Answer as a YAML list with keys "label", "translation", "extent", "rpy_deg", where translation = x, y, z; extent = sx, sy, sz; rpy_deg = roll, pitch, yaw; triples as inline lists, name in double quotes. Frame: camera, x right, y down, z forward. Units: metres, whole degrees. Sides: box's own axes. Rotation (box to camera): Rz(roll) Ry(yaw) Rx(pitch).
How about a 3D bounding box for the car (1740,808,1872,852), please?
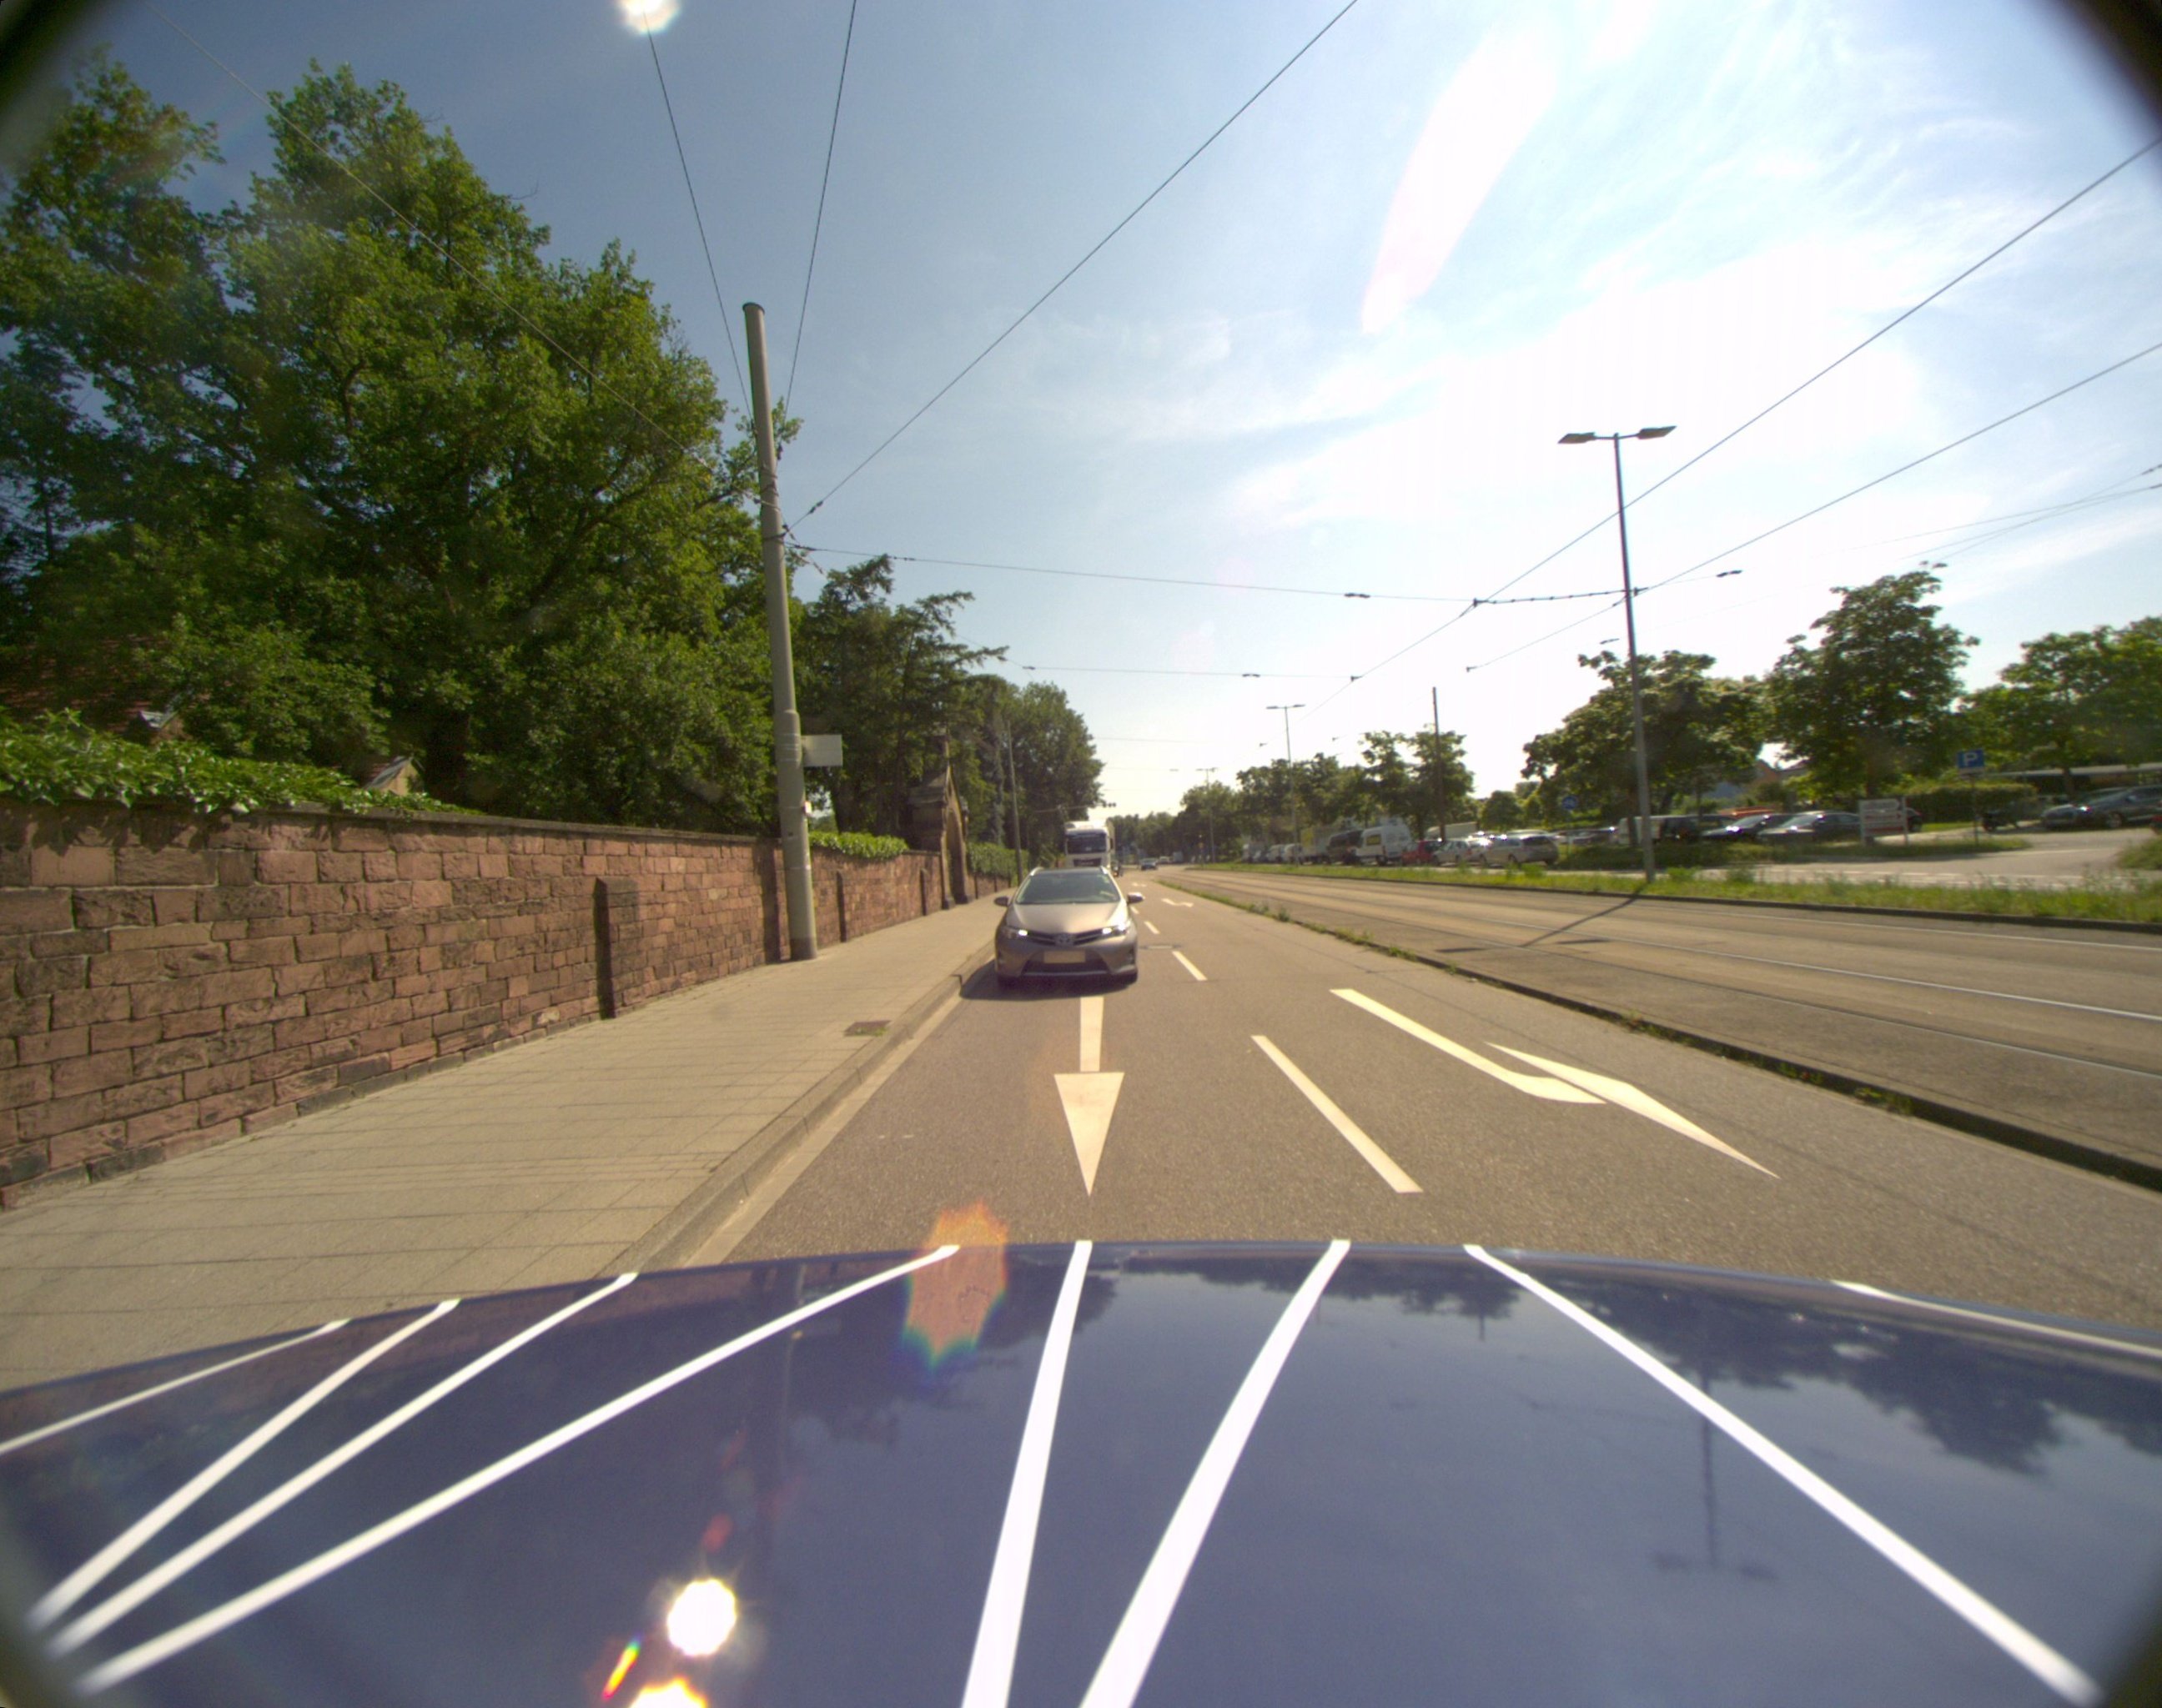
- label: "car"
  translation: [30.659, -0.987, 32.206]
  extent: [3.997, 1.554, 1.663]
  rpy_deg: [-4, 0, -1]

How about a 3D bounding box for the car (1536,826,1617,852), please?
- label: "car"
  translation: [31.262, -0.941, 47.998]
  extent: [3.997, 1.363, 1.660]
  rpy_deg: [-3, 0, -2]

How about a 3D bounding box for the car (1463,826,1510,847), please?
- label: "car"
  translation: [43.991, -1.894, 82.488]
  extent: [3.998, 1.879, 1.785]
  rpy_deg: [-4, 0, -3]

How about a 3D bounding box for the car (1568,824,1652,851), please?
- label: "car"
  translation: [31.609, -0.990, 45.438]
  extent: [3.998, 1.363, 1.489]
  rpy_deg: [-3, 0, -3]

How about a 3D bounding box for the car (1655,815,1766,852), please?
- label: "car"
  translation: [30.868, -0.995, 37.322]
  extent: [3.997, 1.554, 1.663]
  rpy_deg: [-3, 0, -1]

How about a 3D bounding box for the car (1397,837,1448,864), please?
- label: "car"
  translation: [20.425, -0.185, 45.565]
  extent: [1.295, 1.481, 3.677]
  rpy_deg: [-4, 0, -1]

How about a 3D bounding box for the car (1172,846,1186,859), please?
- label: "car"
  translation: [22.261, -0.285, 172.581]
  extent: [2.016, 2.635, 6.086]
  rpy_deg: [-7, 0, 1]

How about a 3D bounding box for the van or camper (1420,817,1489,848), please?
- label: "van or camper"
  translation: [45.262, -2.611, 92.298]
  extent: [6.968, 3.225, 2.582]
  rpy_deg: [-4, 0, -1]

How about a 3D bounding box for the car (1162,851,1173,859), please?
- label: "car"
  translation: [17.663, 0.220, 155.677]
  extent: [2.048, 1.587, 4.661]
  rpy_deg: [-2, 0, 4]

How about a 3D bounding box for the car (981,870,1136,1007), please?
- label: "car"
  translation: [-0.178, 1.014, 10.672]
  extent: [1.719, 1.439, 4.031]
  rpy_deg: [-2, 0, 2]

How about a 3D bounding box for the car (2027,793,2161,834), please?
- label: "car"
  translation: [43.194, -1.709, 32.257]
  extent: [3.983, 1.416, 1.676]
  rpy_deg: [-4, 0, -2]

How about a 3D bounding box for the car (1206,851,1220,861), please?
- label: "car"
  translation: [21.567, 0.300, 124.034]
  extent: [1.619, 1.442, 4.084]
  rpy_deg: [-4, -1, 2]

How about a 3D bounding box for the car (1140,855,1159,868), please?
- label: "car"
  translation: [8.223, 0.885, 91.866]
  extent: [1.933, 1.324, 4.000]
  rpy_deg: [-4, 0, 1]

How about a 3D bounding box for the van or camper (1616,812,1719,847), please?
- label: "van or camper"
  translation: [30.802, -1.278, 39.978]
  extent: [3.998, 1.554, 1.876]
  rpy_deg: [-4, 0, -4]

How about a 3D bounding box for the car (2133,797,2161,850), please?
- label: "car"
  translation: [29.671, -0.919, 19.017]
  extent: [4.157, 1.337, 1.698]
  rpy_deg: [-4, 0, 2]

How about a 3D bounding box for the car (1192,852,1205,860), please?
- label: "car"
  translation: [21.853, 0.399, 141.495]
  extent: [1.679, 1.427, 4.457]
  rpy_deg: [-4, -1, -1]

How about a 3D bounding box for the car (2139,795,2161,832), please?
- label: "car"
  translation: [44.185, -1.717, 29.463]
  extent: [3.983, 1.416, 1.676]
  rpy_deg: [-4, 0, -1]

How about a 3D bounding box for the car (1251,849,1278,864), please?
- label: "car"
  translation: [21.294, 0.288, 88.259]
  extent: [1.937, 1.446, 4.886]
  rpy_deg: [-5, 0, 1]

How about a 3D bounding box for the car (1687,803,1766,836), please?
- label: "car"
  translation: [46.144, -2.461, 54.356]
  extent: [3.998, 1.991, 1.910]
  rpy_deg: [-4, 0, -3]

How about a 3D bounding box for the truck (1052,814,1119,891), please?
- label: "truck"
  translation: [0.590, -0.056, 48.936]
  extent: [3.390, 4.045, 14.290]
  rpy_deg: [-4, 0, 3]

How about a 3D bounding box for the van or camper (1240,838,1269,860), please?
- label: "van or camper"
  translation: [21.521, -0.547, 94.326]
  extent: [2.262, 2.499, 6.148]
  rpy_deg: [-4, 0, 2]

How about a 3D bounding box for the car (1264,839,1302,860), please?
- label: "car"
  translation: [21.648, -0.438, 81.662]
  extent: [2.202, 1.929, 5.184]
  rpy_deg: [-5, 0, -3]

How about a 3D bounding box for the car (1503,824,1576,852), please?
- label: "car"
  translation: [32.100, -1.112, 53.270]
  extent: [3.997, 1.684, 1.663]
  rpy_deg: [-4, 0, 0]

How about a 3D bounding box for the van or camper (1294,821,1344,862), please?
- label: "van or camper"
  translation: [20.817, -1.049, 66.873]
  extent: [2.201, 3.222, 6.773]
  rpy_deg: [-6, -1, 2]

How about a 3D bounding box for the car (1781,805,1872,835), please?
- label: "car"
  translation: [43.999, -1.994, 44.894]
  extent: [3.856, 1.416, 1.532]
  rpy_deg: [-4, 0, -1]

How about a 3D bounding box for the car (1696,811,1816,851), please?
- label: "car"
  translation: [30.697, -1.028, 34.620]
  extent: [3.997, 1.554, 1.663]
  rpy_deg: [-3, 0, -1]

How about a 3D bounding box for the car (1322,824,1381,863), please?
- label: "car"
  translation: [20.626, -0.777, 58.256]
  extent: [2.201, 2.653, 6.079]
  rpy_deg: [-5, 0, 0]

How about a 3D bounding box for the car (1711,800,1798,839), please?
- label: "car"
  translation: [44.048, -2.239, 49.760]
  extent: [3.998, 2.187, 1.910]
  rpy_deg: [-4, 0, -3]

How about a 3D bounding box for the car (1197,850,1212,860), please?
- label: "car"
  translation: [21.870, 0.266, 134.749]
  extent: [1.679, 1.603, 4.242]
  rpy_deg: [-4, -1, -1]

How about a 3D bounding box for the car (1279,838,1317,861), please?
- label: "car"
  translation: [21.424, -0.413, 75.234]
  extent: [2.201, 1.929, 5.186]
  rpy_deg: [-6, 0, 2]

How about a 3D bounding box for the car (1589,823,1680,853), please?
- label: "car"
  translation: [30.749, -0.880, 42.295]
  extent: [3.998, 1.363, 1.489]
  rpy_deg: [-3, 0, -3]

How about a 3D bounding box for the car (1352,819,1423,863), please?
- label: "car"
  translation: [20.520, -0.808, 51.198]
  extent: [2.201, 2.615, 5.980]
  rpy_deg: [-6, -1, 1]

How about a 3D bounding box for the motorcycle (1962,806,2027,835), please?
- label: "motorcycle"
  translation: [44.172, -1.604, 36.747]
  extent: [2.131, 1.226, 0.734]
  rpy_deg: [-3, 0, 2]

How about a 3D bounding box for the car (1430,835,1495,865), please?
- label: "car"
  translation: [20.373, -0.213, 40.802]
  extent: [1.295, 1.481, 4.351]
  rpy_deg: [-4, 0, 1]

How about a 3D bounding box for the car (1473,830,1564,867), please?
- label: "car"
  translation: [20.418, -0.233, 35.703]
  extent: [1.608, 1.481, 4.618]
  rpy_deg: [-6, -1, 3]
